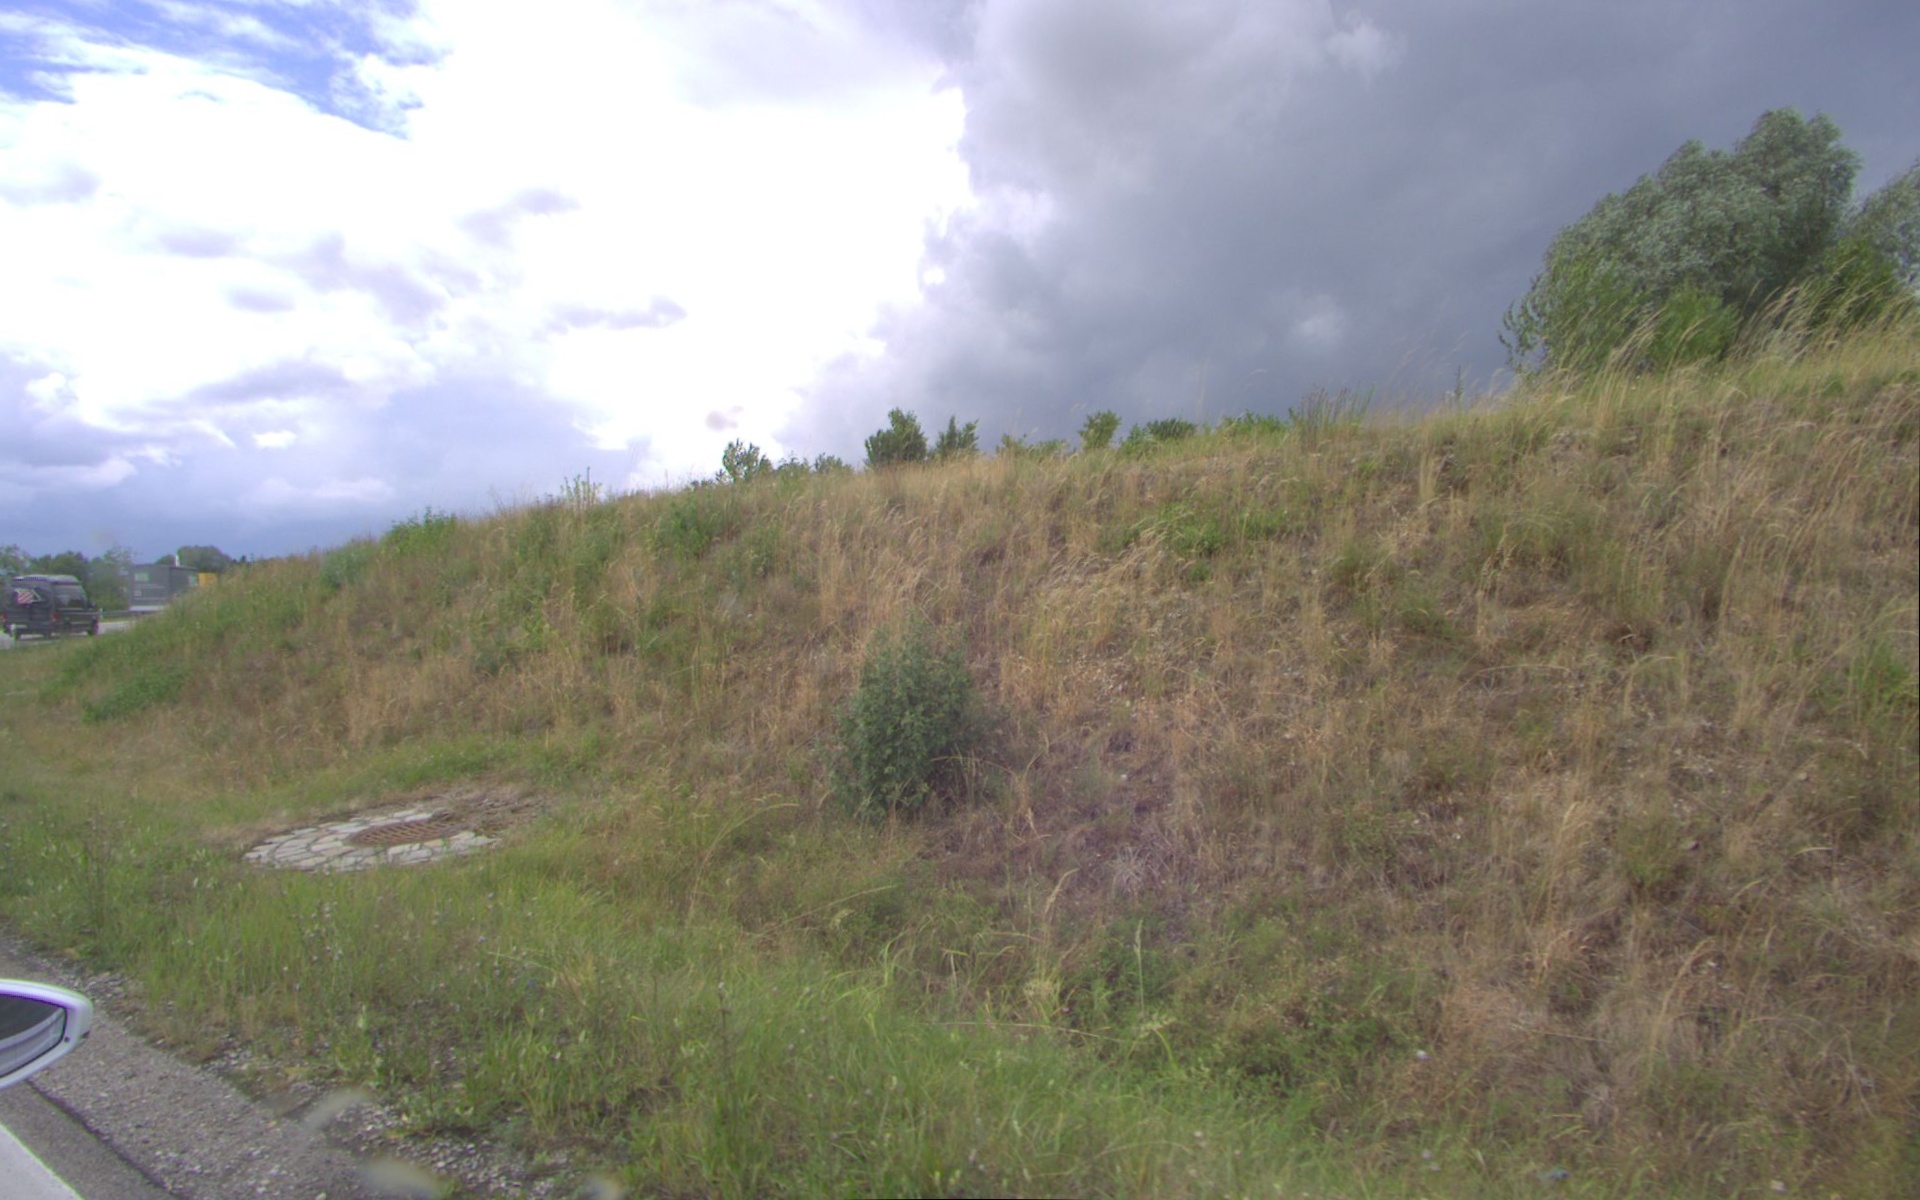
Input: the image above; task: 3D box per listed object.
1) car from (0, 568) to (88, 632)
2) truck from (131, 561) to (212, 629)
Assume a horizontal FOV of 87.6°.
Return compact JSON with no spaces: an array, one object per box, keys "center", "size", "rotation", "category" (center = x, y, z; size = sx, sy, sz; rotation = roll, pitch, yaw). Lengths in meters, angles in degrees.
[{"center":[-42.536,0.042,46.570],"size":[2.080,2.832,3.983],"rotation":[1,-1,-27],"category":"car"},{"center":[-49.736,-0.214,63.350],"size":[2.198,3.956,6.005],"rotation":[0,-2,-20],"category":"truck"}]
